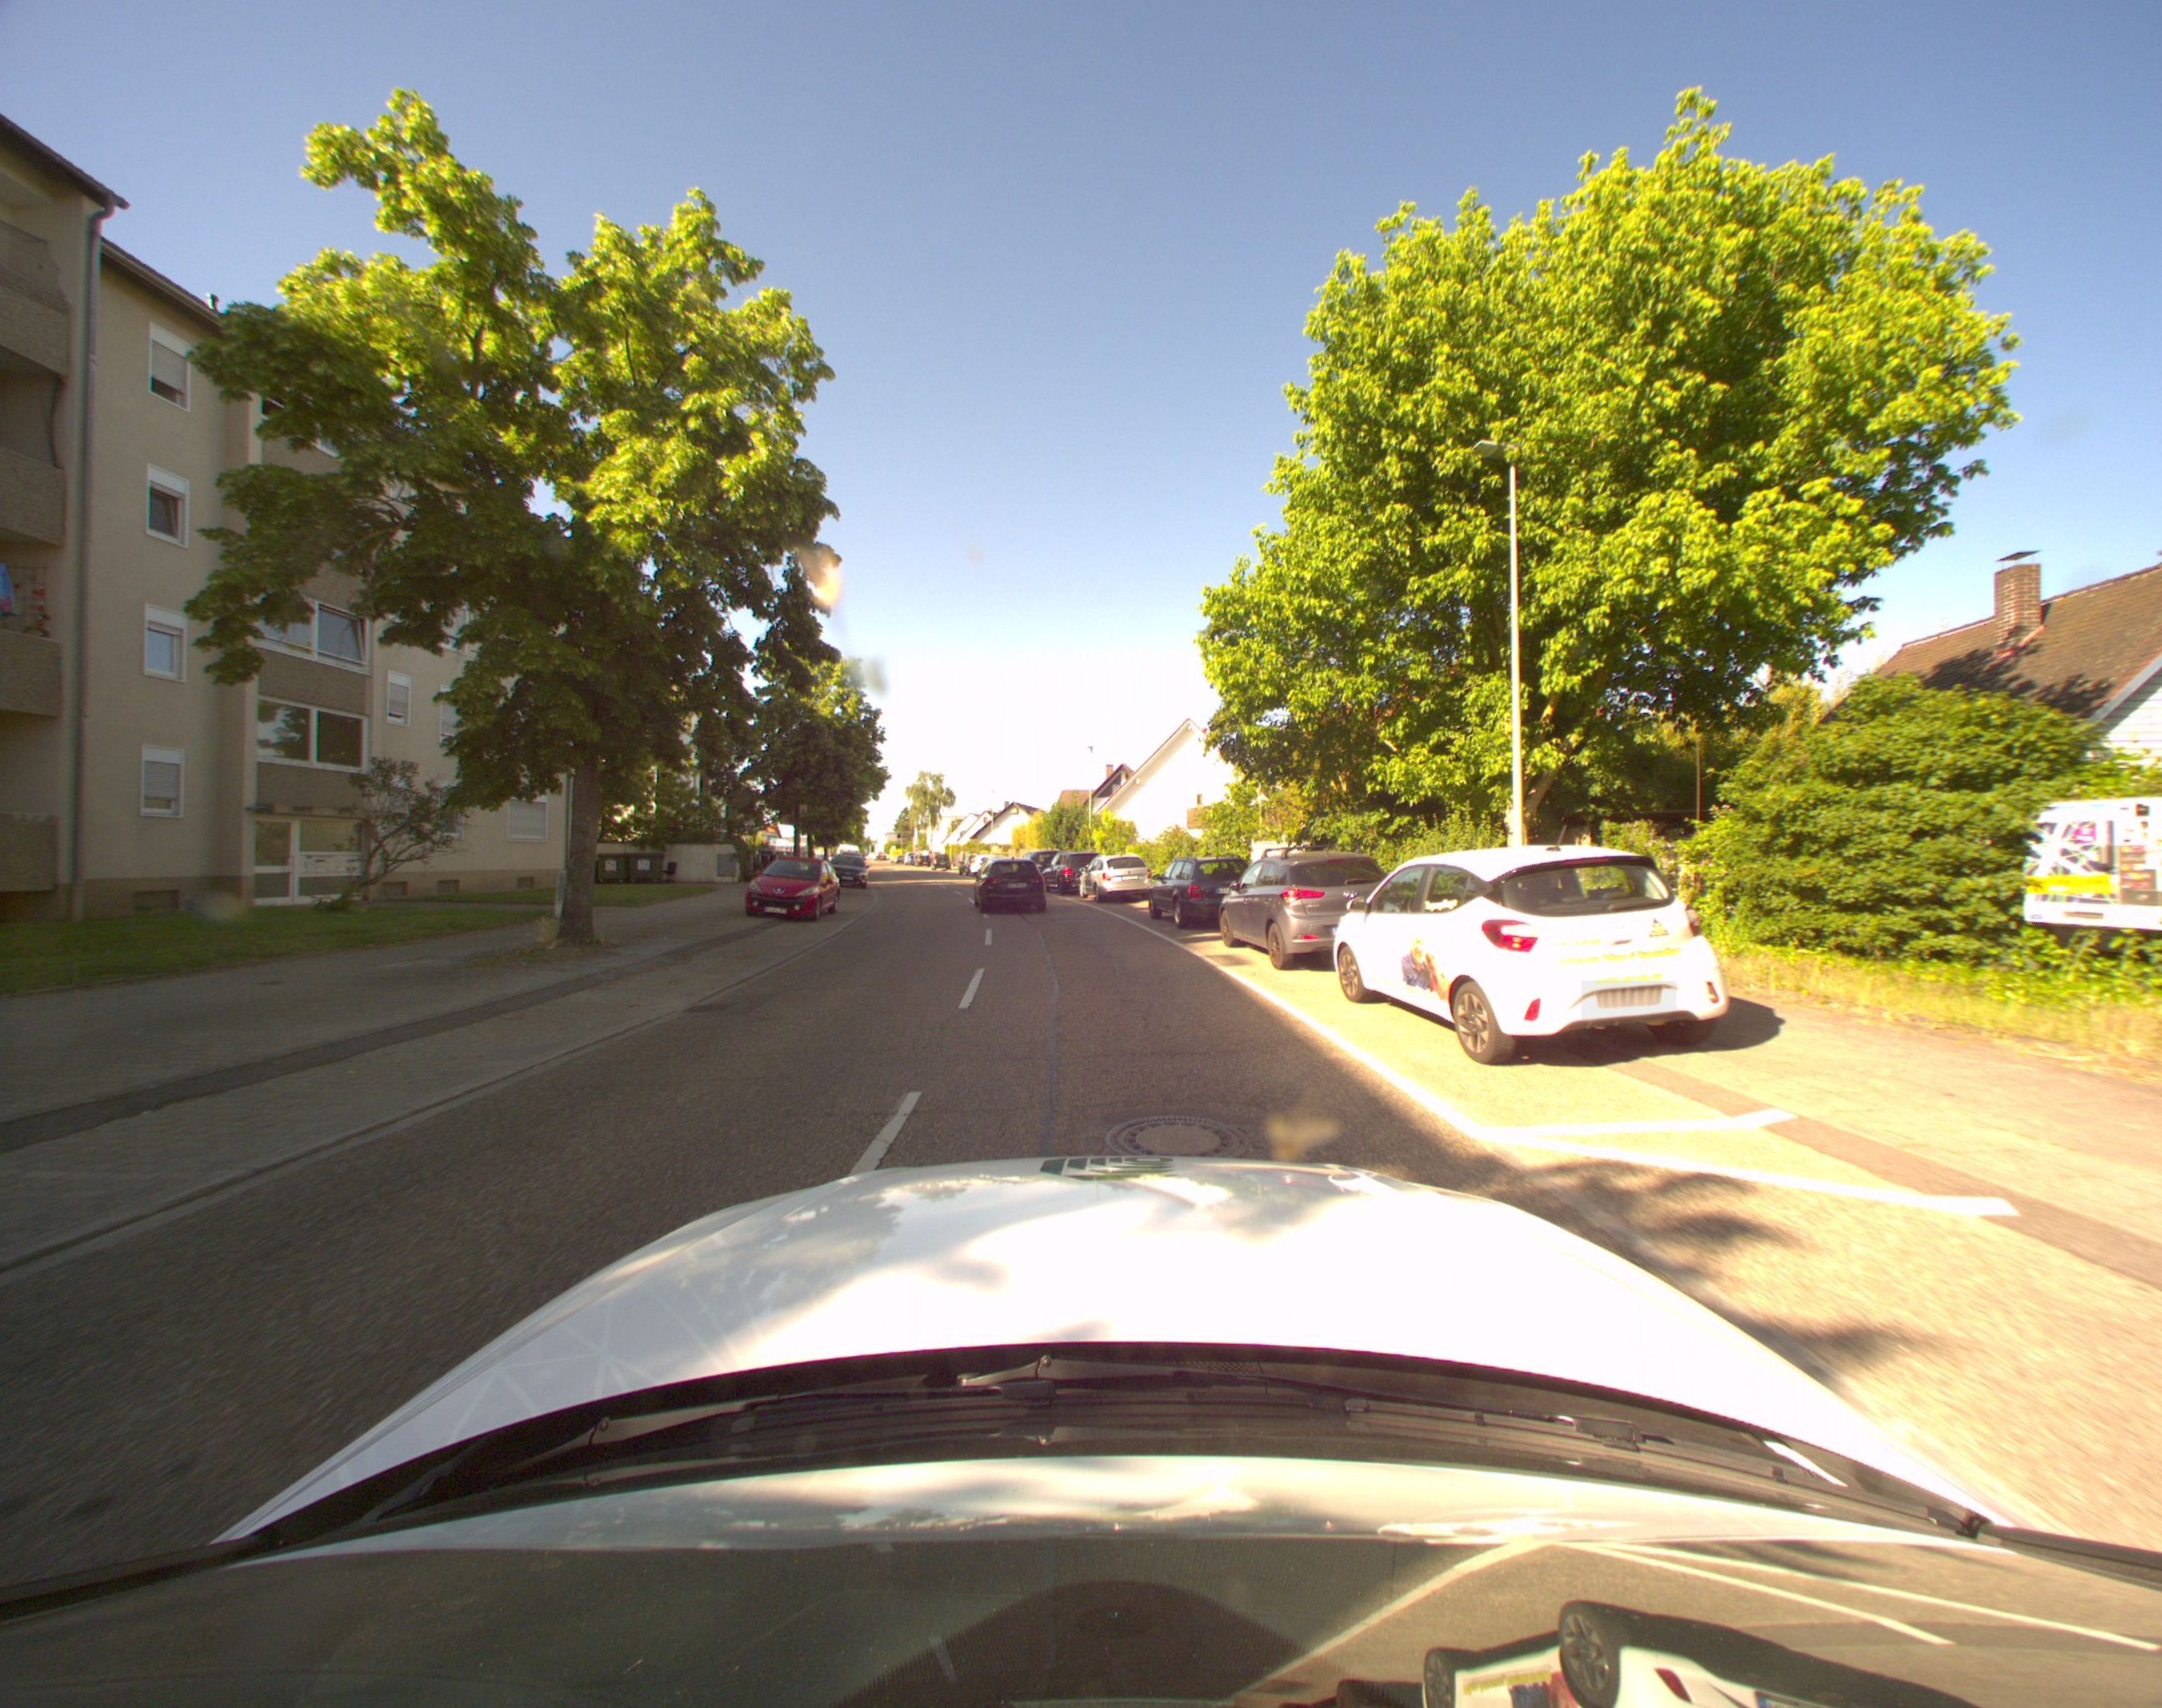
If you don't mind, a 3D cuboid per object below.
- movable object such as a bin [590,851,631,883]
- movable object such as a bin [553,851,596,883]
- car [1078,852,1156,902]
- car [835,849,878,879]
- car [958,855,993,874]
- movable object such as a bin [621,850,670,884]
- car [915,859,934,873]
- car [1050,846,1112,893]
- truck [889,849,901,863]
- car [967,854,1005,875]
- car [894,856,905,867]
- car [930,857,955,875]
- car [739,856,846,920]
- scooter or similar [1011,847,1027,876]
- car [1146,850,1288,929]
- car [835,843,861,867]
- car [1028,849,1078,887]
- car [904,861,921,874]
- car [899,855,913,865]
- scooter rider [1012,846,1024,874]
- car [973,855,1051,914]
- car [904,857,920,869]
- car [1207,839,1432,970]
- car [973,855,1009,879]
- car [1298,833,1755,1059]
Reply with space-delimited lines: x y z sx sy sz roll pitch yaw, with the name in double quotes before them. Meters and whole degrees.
"movable object such as a bin" -20.026 0.575 34.692 1.170 1.321 1.085 0 -2 -6
"movable object such as a bin" -21.438 0.574 34.488 1.170 1.321 1.085 0 -2 -6
"car" 1.101 0.728 27.042 1.819 1.534 4.246 0 -1 -9
"car" -14.262 0.637 52.001 1.833 1.630 4.280 7 -1 -7
"car" -8.031 0.812 61.608 1.921 1.407 4.269 0 -1 -17
"movable object such as a bin" -18.629 0.551 34.858 1.516 1.428 1.085 0 -2 -7
"car" -19.493 1.455 101.305 2.010 1.724 4.270 0 -1 -16
"car" -0.069 0.608 32.409 2.003 1.724 4.284 0 -1 -7
"truck" -37.278 0.410 163.254 2.210 2.600 5.116 0 -2 -16
"car" -6.709 0.753 57.251 1.921 1.407 4.269 0 -1 -17
"car" -32.699 1.369 146.953 1.752 2.014 3.930 0 -2 -15
"car" -14.007 1.217 82.340 2.010 1.724 4.270 0 -1 -16
"car" -7.355 0.819 21.182 1.687 1.491 4.280 1 -1 -7
"scooter or similar" -4.639 0.592 60.501 0.686 2.014 2.947 0 -2 -14
"car" 2.780 0.705 17.741 2.003 1.475 4.285 0 -1 -6
"car" -23.338 0.111 81.726 1.906 2.170 4.273 7 -1 -12
"car" -1.357 0.656 38.118 1.902 1.666 4.179 0 -1 -8
"car" -23.674 1.890 114.624 2.010 1.724 4.270 0 -1 -16
"car" -30.513 1.075 142.028 2.010 1.724 4.270 0 -1 -16
"scooter rider" -4.701 0.453 60.678 0.687 2.014 0.815 0 -3 -16
"car" -2.039 0.797 23.060 1.762 1.491 4.275 -1 0 -11
"car" -24.983 1.328 120.104 2.010 1.724 4.270 0 -1 -16
"car" 3.292 0.624 12.202 1.907 1.600 4.289 0 0 -3
"car" -5.647 0.819 50.686 1.917 1.407 4.278 0 -1 -11
"car" 3.566 0.635 7.589 1.756 1.480 4.289 0 -1 -3
